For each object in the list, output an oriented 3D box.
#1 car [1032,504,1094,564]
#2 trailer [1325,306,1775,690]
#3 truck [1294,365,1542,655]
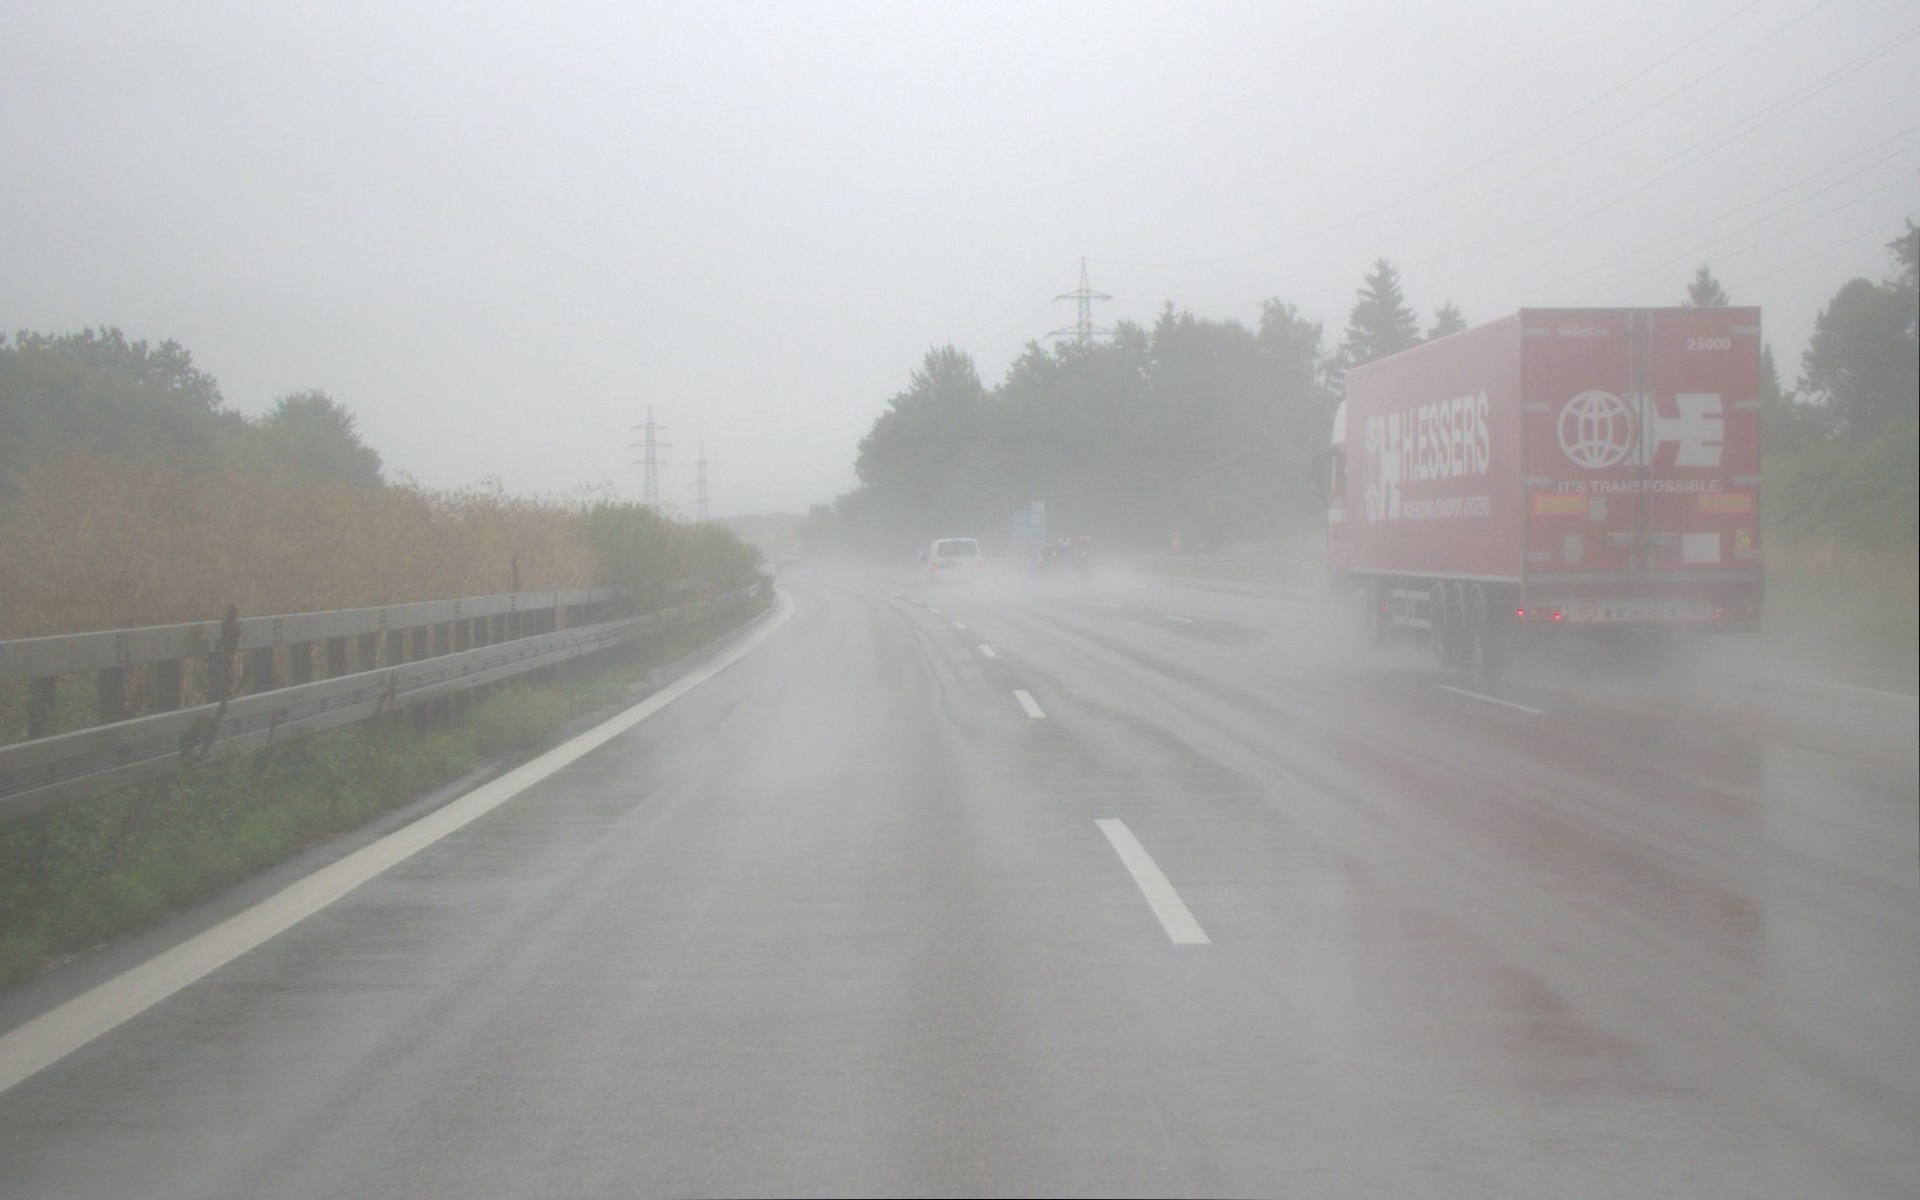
[{"bbox_3d":[3.826,-2.473,128.389,1.807,2.151,4.001,-2,1,-5],"label":"car"},{"bbox_3d":[6.946,-1.174,43.042,2.620,3.941,13.632,-2,1,-2],"label":"trailer"},{"bbox_3d":[6.661,-1.298,50.737,2.620,3.941,5.433,-2,1,-2],"label":"truck"}]
